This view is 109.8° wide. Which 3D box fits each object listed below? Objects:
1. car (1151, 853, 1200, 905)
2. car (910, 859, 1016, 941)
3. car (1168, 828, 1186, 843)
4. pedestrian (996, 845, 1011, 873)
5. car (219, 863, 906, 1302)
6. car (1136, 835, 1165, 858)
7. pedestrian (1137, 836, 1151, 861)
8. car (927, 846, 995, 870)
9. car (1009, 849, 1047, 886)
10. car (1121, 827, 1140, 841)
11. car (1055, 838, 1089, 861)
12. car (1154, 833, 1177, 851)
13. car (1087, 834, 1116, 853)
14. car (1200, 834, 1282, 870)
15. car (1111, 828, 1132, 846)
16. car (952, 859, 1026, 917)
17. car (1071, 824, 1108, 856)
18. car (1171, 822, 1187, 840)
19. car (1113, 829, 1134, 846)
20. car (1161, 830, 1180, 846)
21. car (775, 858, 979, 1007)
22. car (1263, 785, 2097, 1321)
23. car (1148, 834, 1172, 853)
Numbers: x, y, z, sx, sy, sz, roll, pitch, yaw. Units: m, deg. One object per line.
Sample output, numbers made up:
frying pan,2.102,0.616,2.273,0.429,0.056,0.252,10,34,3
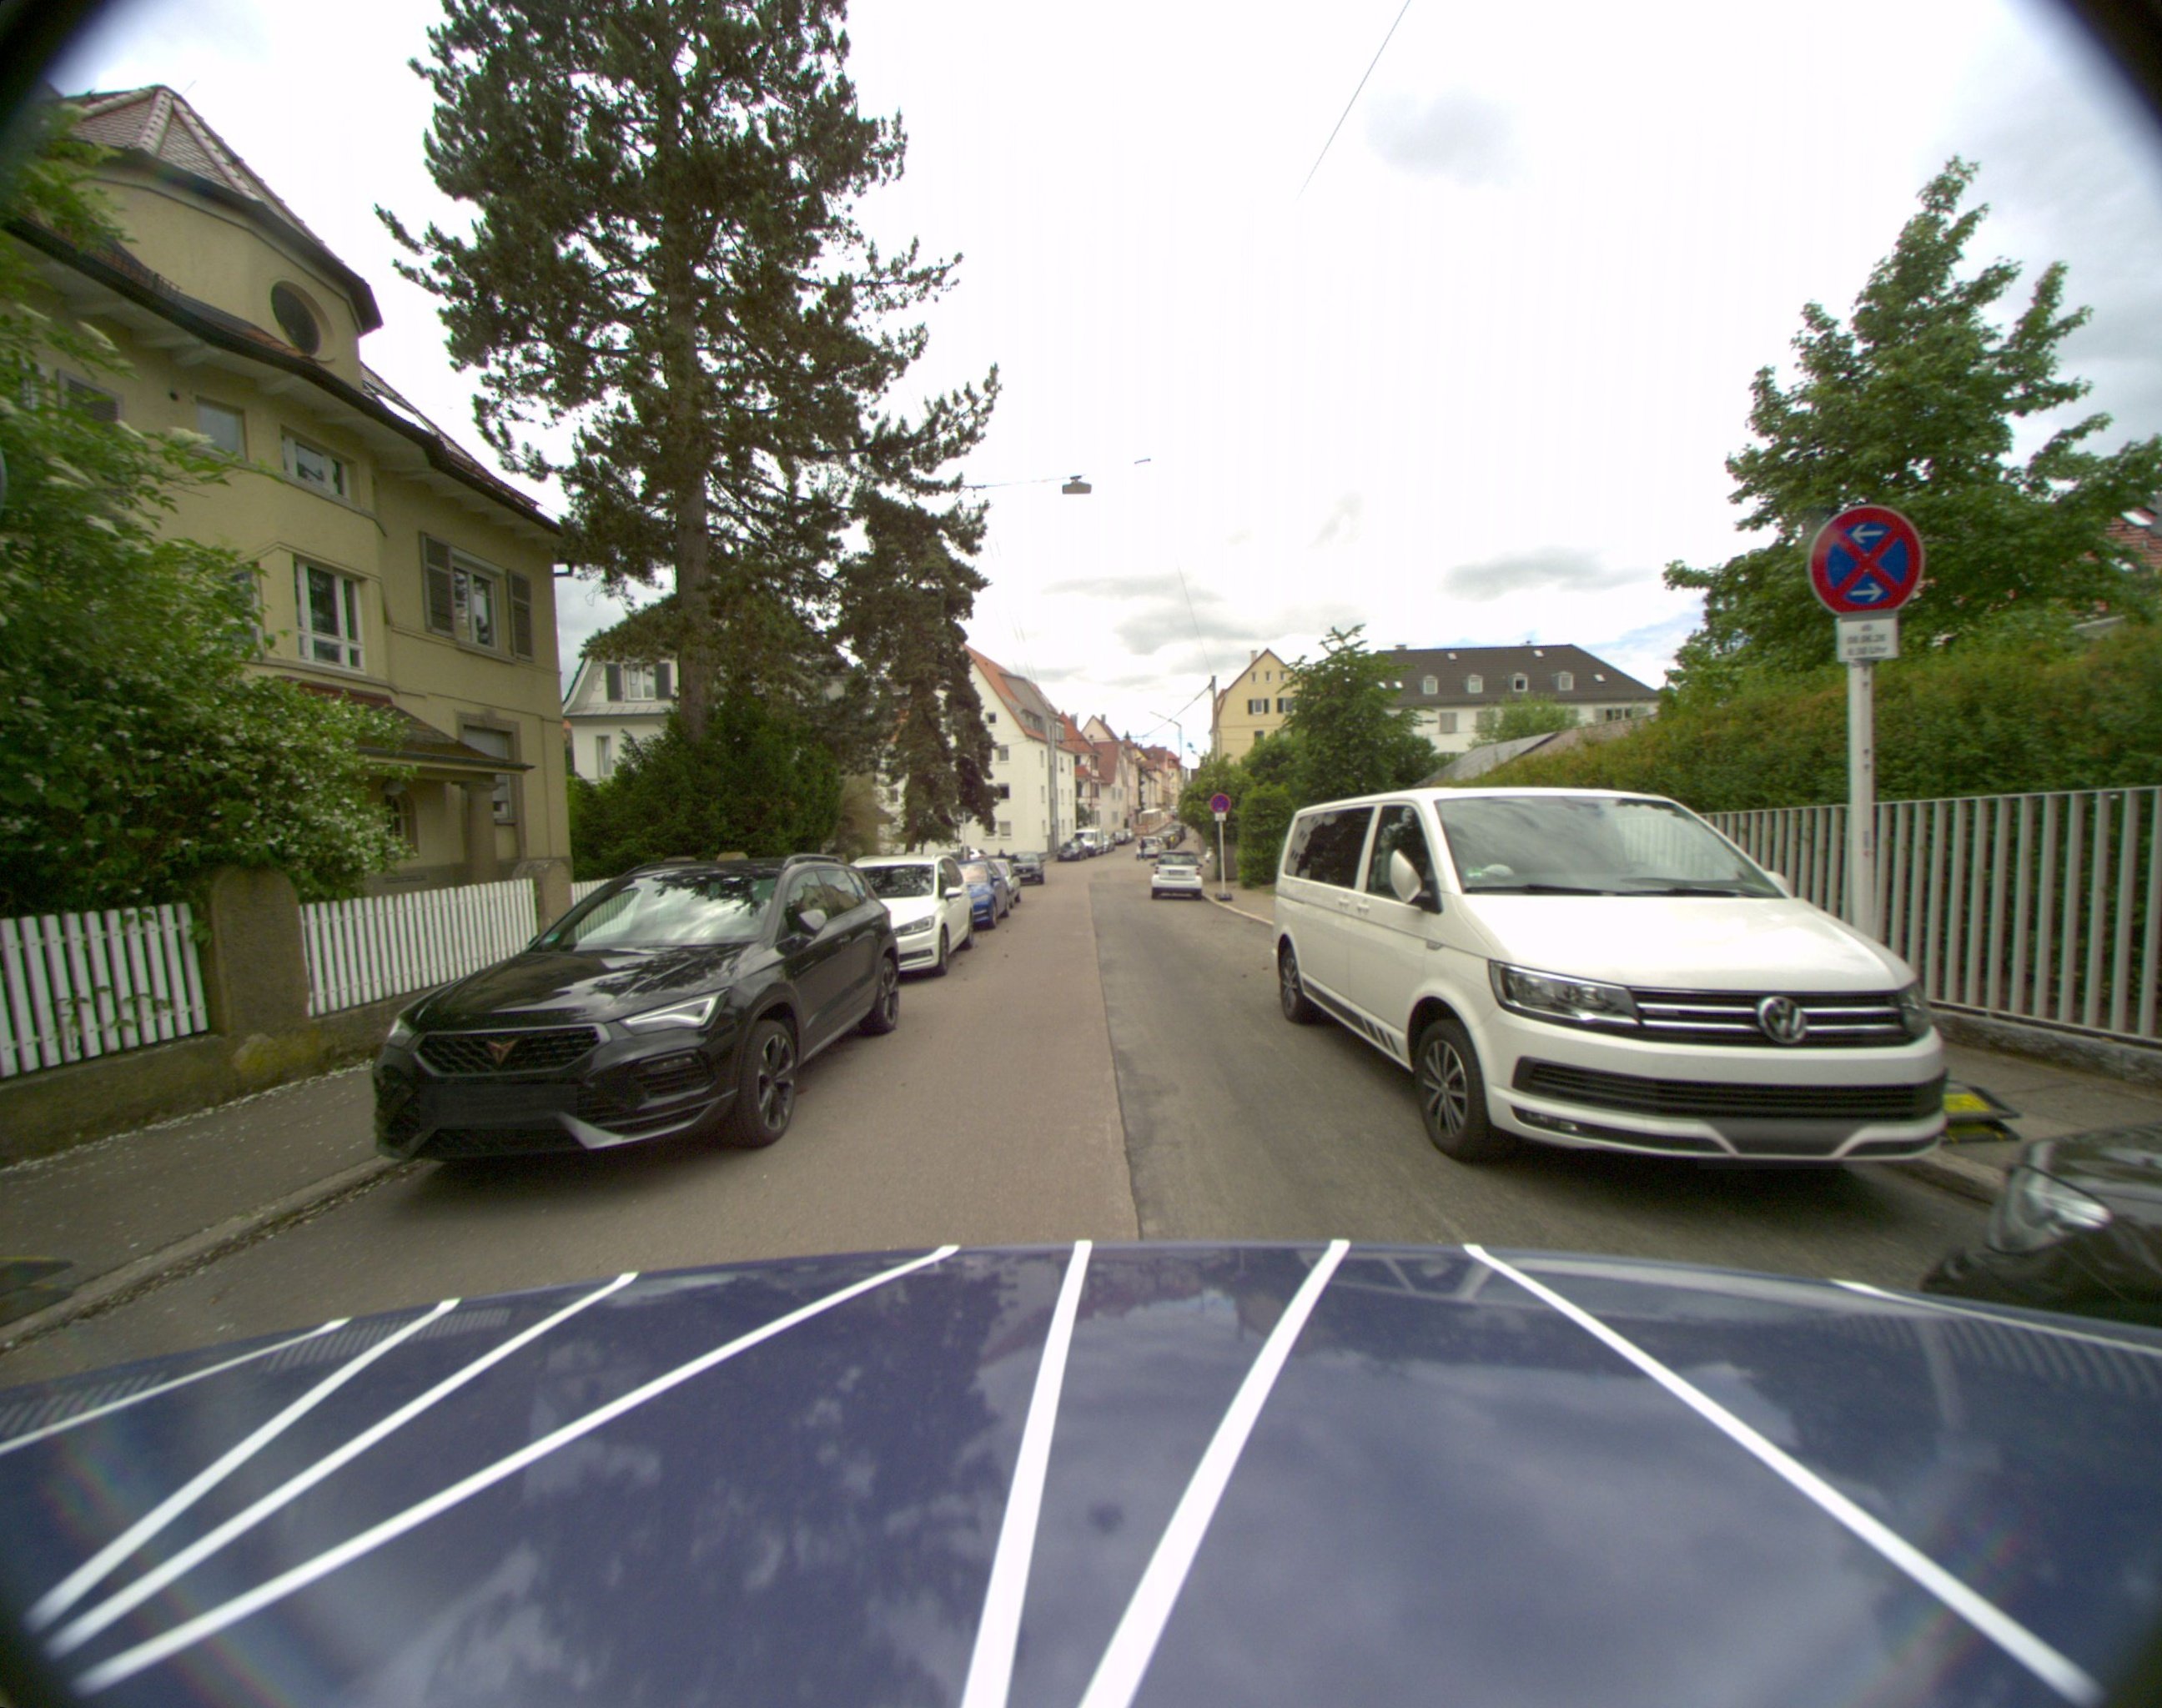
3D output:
car,3.089,0.761,24.854,1.445,1.543,2.771,2,1,7
car,-2.560,0.948,17.363,1.651,1.450,4.051,-3,1,1
car,10.484,-2.017,82.912,1.641,1.392,3.704,0,4,11
pedestrian,-4.432,0.298,43.639,0.682,1.568,0.906,1,3,6
car,-2.598,0.976,5.173,1.754,1.599,4.074,-4,1,0
car,5.550,-0.596,60.051,1.807,1.650,4.153,0,2,11
pedestrian,4.467,-0.408,53.906,0.822,1.750,0.644,-3,2,-1
car,-8.508,0.268,54.015,4.352,1.442,1.765,-2,1,13
car,-2.422,0.587,35.259,1.576,1.523,2.867,-4,1,-2
car,5.669,-2.291,86.405,1.628,1.385,4.236,-2,4,11
car,-0.635,-0.380,58.249,1.821,1.478,4.288,-1,3,10
car,8.200,-1.195,73.345,1.805,1.472,4.329,0,4,12
car,1.990,-0.977,70.876,1.827,1.437,4.384,-2,4,13
car,9.022,-0.120,42.704,4.521,1.646,1.830,-6,3,-36
car,4.395,-1.859,81.676,1.780,1.711,4.001,-2,2,10
car,-2.594,0.917,22.129,1.577,1.392,3.655,-3,1,1
car,0.780,-1.247,64.974,1.996,2.410,5.294,-1,4,13
car,11.366,-2.703,88.119,1.752,1.788,4.148,0,5,9
car,4.566,-1.814,81.845,1.607,1.482,4.023,-2,4,12
car,9.352,-1.679,78.897,1.641,1.421,4.123,1,5,11
car,-2.708,0.943,11.177,1.789,1.594,4.303,-4,1,-1
car,2.677,0.682,5.024,1.859,1.902,4.618,1,1,1
car,6.782,-0.914,65.018,1.609,1.445,3.615,2,4,11
